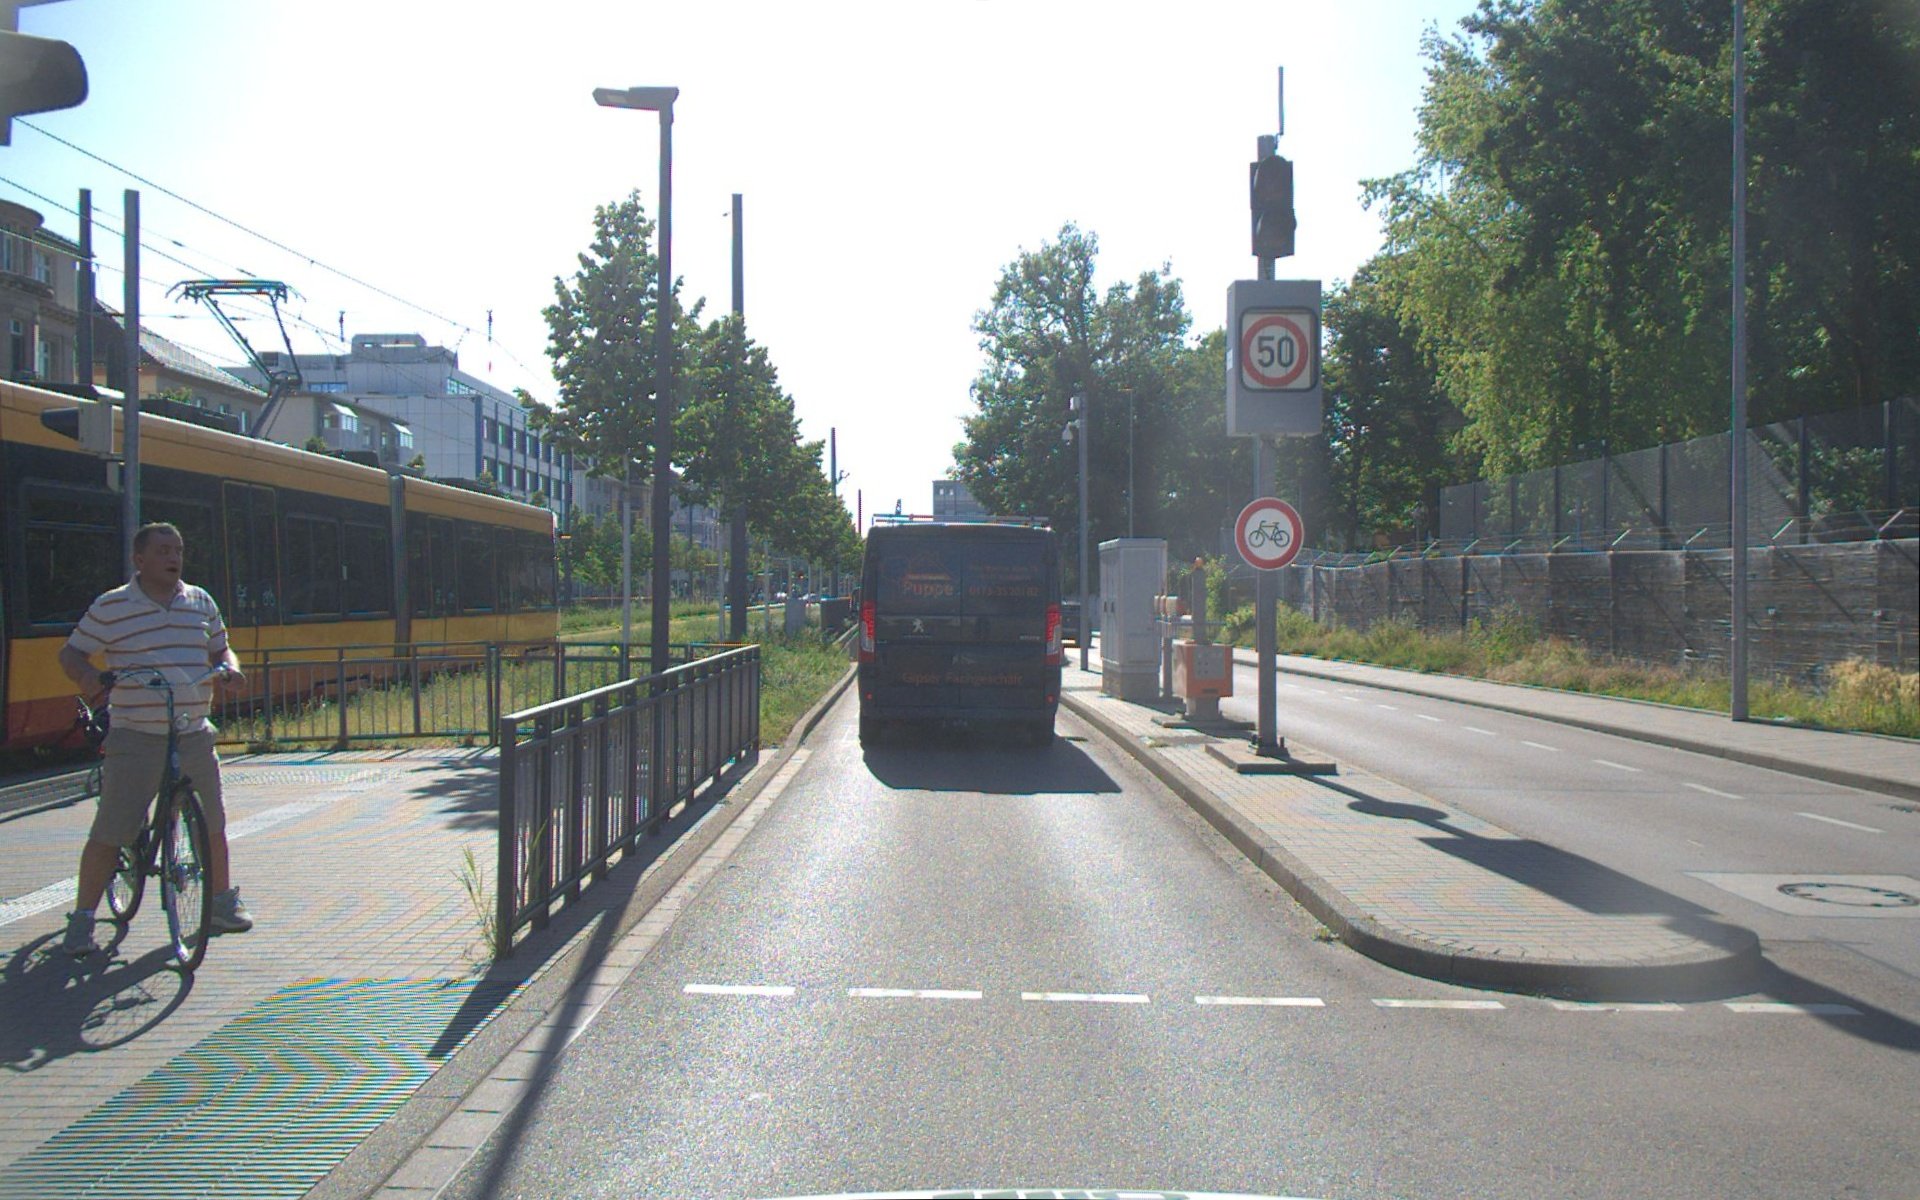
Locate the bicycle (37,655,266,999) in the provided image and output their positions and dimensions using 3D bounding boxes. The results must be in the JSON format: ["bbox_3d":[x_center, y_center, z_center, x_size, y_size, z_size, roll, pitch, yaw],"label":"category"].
[{"bbox_3d":[-3.343,0.821,6.814,0.724,1.110,2.064,1,0,-27],"label":"bicycle"}]

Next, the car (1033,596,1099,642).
[{"bbox_3d":[3.543,0.624,55.882,1.728,1.488,3.997,1,0,-3],"label":"car"}]

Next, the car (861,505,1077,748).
[{"bbox_3d":[0.019,0.250,17.728,2.040,2.288,3.998,1,0,-2],"label":"car"}]

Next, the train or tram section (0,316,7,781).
[{"bbox_3d":[-8.413,-0.407,6.239,1.953,3.733,14.145,1,0,-2],"label":"train or tram section"}]

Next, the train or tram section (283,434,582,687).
[{"bbox_3d":[-9.150,-0.590,30.341,1.953,3.733,11.680,1,0,-1],"label":"train or tram section"}]

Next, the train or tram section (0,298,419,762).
[{"bbox_3d":[-8.854,-0.582,18.889,1.953,3.733,11.312,1,0,-2],"label":"train or tram section"}]

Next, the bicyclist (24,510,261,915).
[{"bbox_3d":[-3.349,0.429,6.802,0.816,1.539,0.723,1,0,-27],"label":"bicyclist"}]
